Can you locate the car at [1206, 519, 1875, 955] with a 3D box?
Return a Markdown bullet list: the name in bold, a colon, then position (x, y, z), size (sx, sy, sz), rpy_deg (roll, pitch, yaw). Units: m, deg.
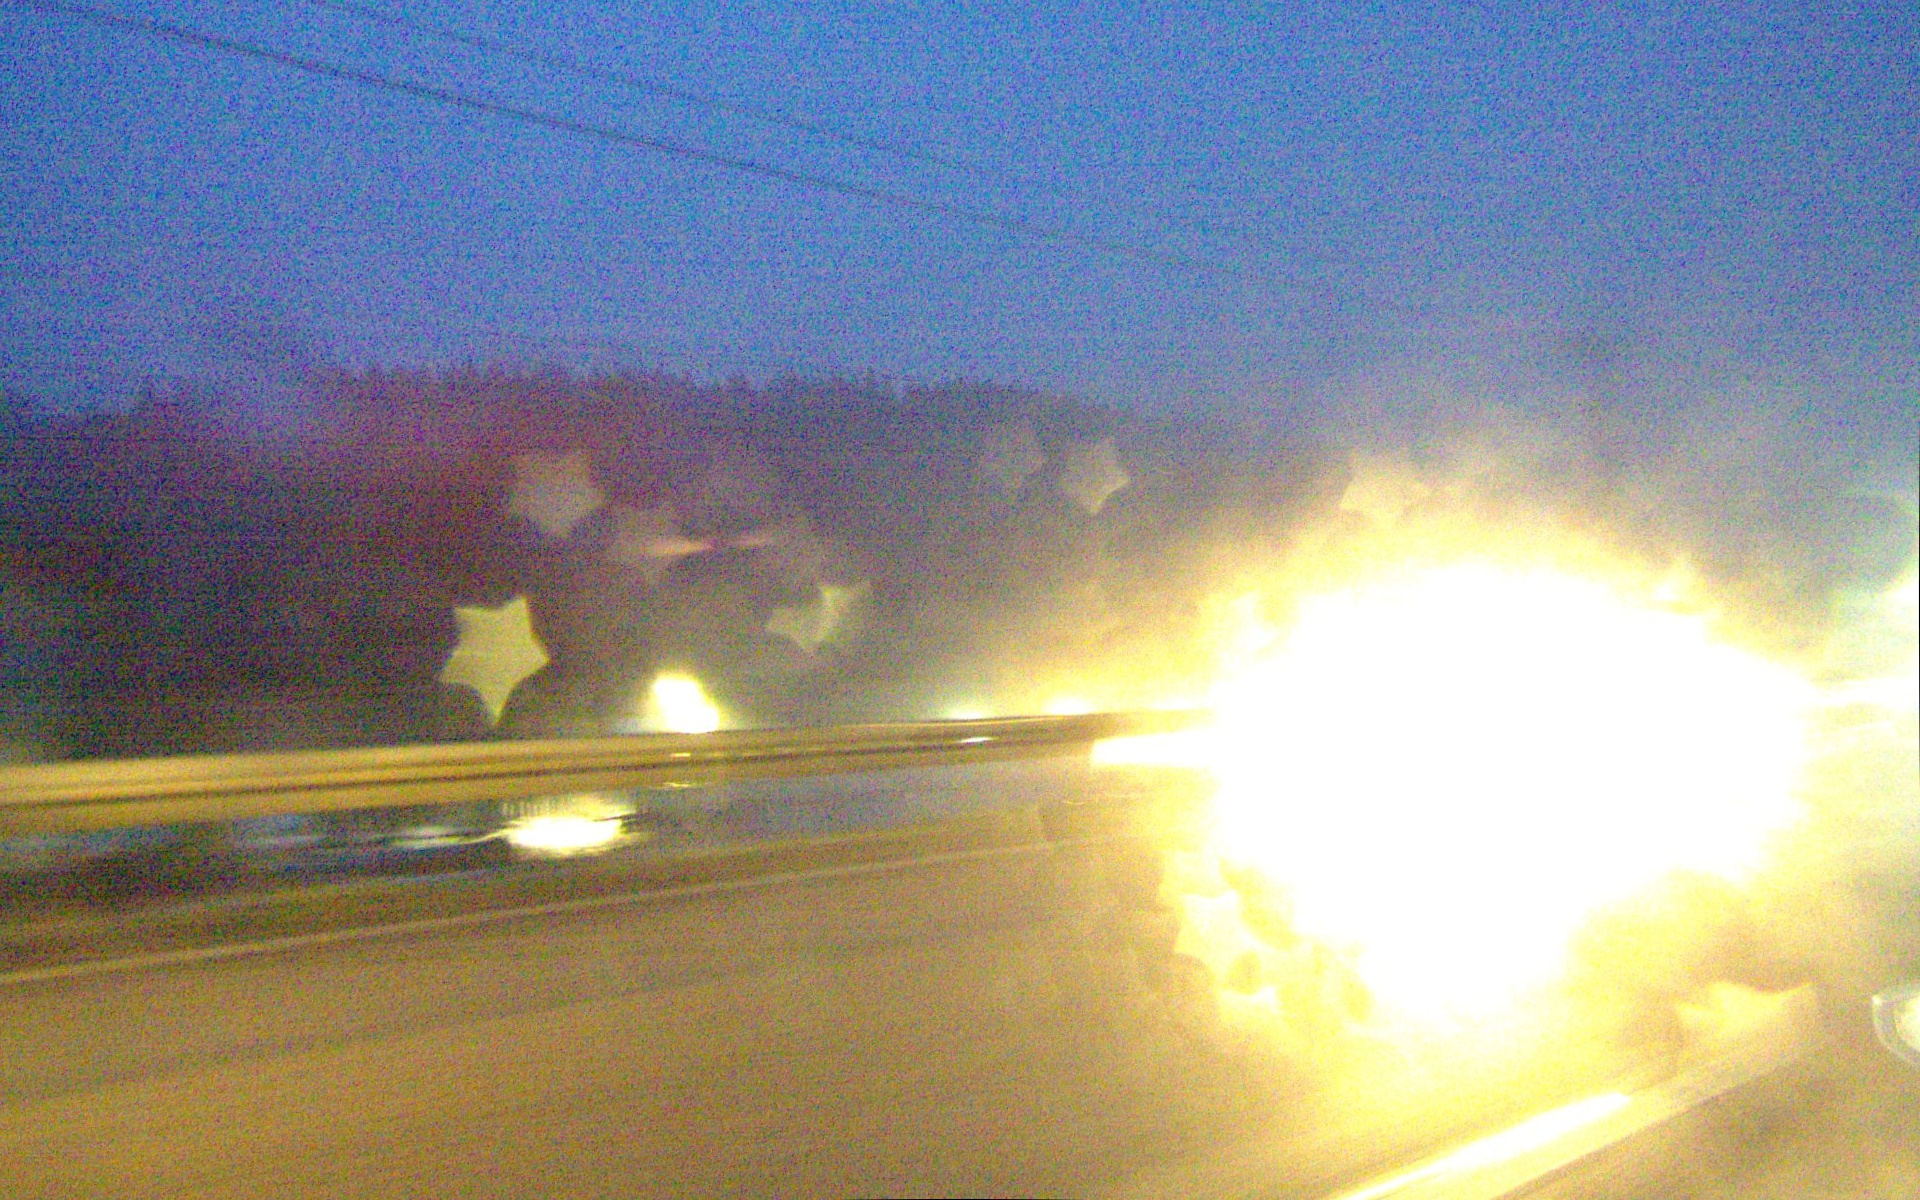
- **car**: position (3.652, 0.636, 6.144), size (4.114, 1.868, 1.770), rpy_deg (2, 0, -31)
